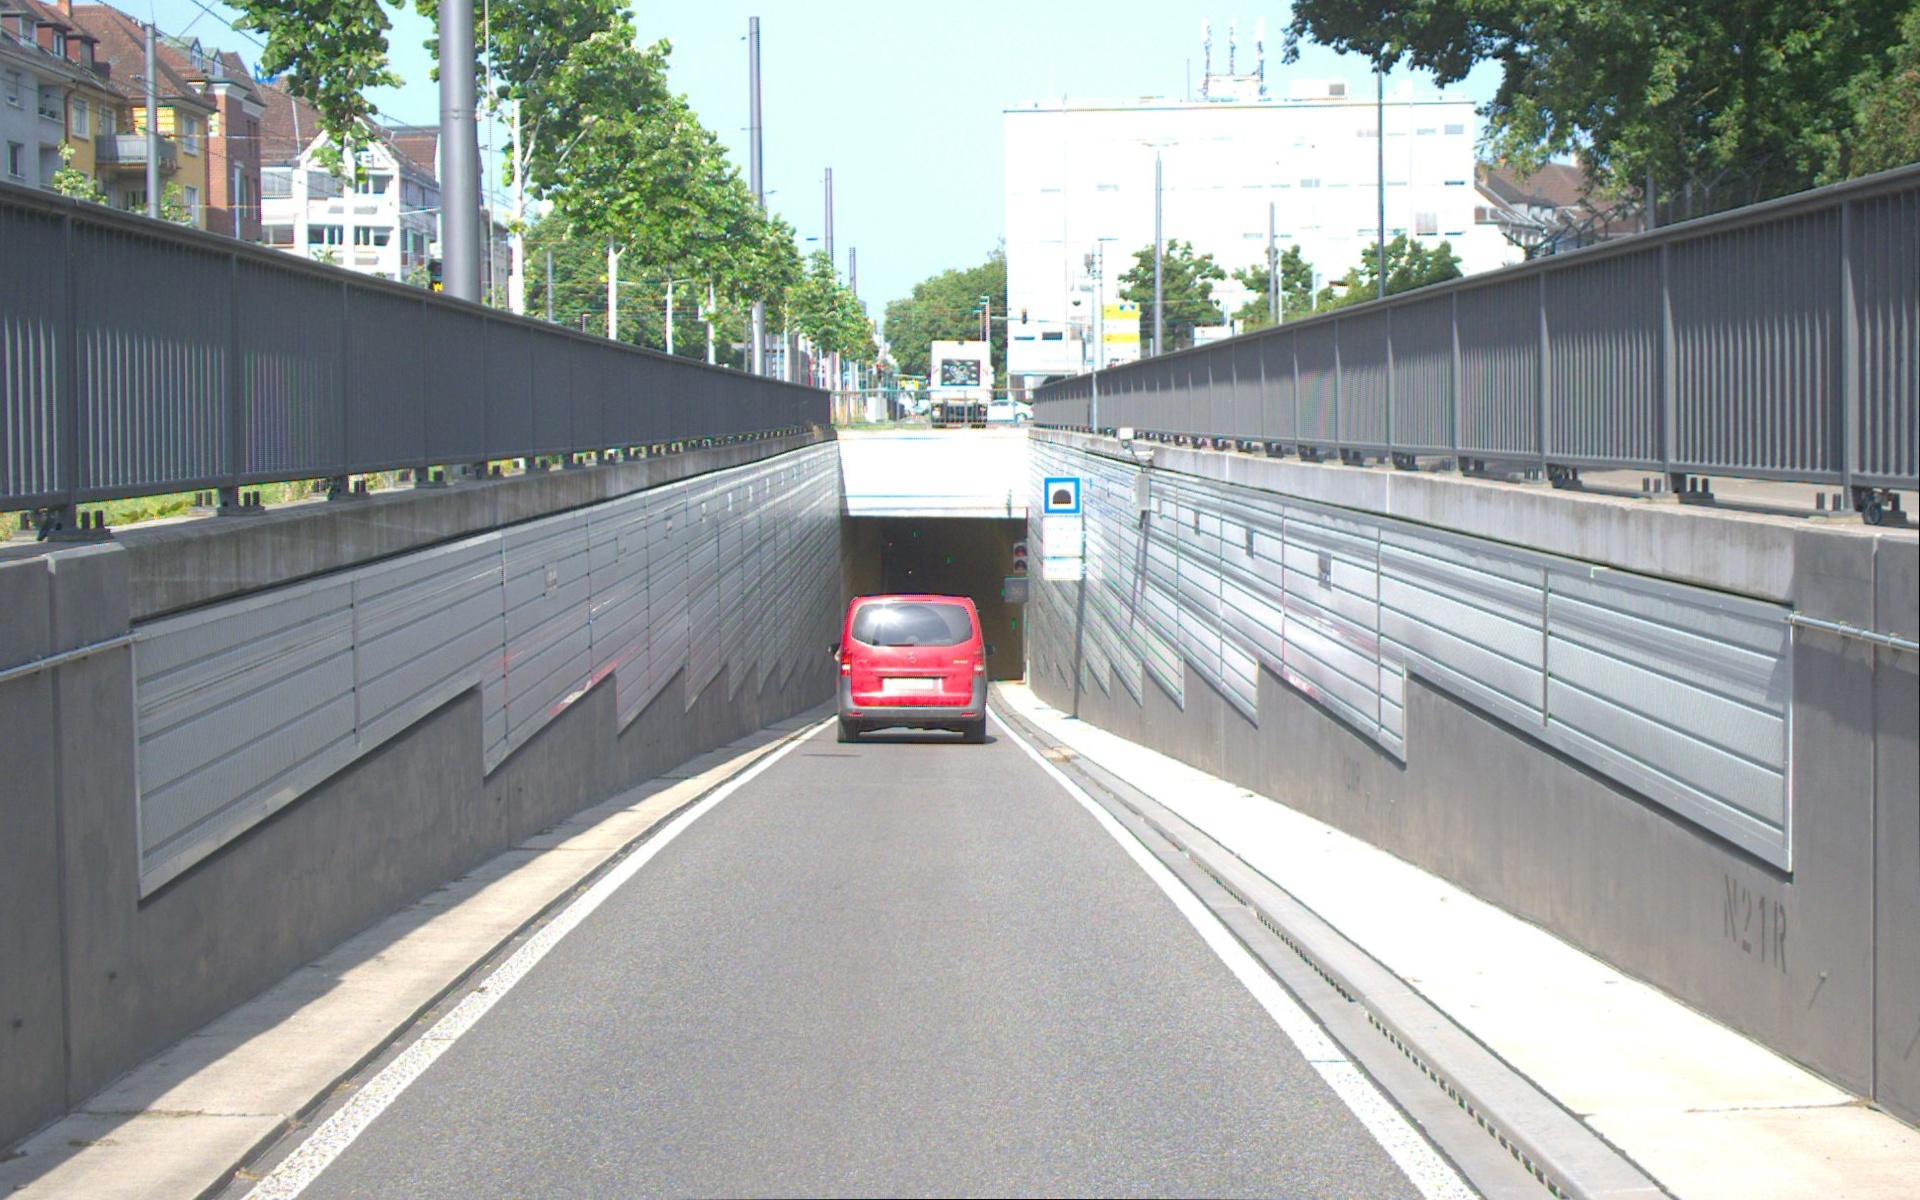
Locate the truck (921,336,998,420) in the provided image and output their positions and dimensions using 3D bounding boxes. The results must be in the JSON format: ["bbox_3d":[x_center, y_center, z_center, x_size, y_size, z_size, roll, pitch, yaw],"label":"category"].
[{"bbox_3d":[-0.068,-10.159,158.381,3.391,3.713,10.453,0,3,-1],"label":"truck"}]

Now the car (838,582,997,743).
[{"bbox_3d":[-0.546,0.758,44.201,1.901,1.853,4.000,2,1,-1],"label":"car"}]
